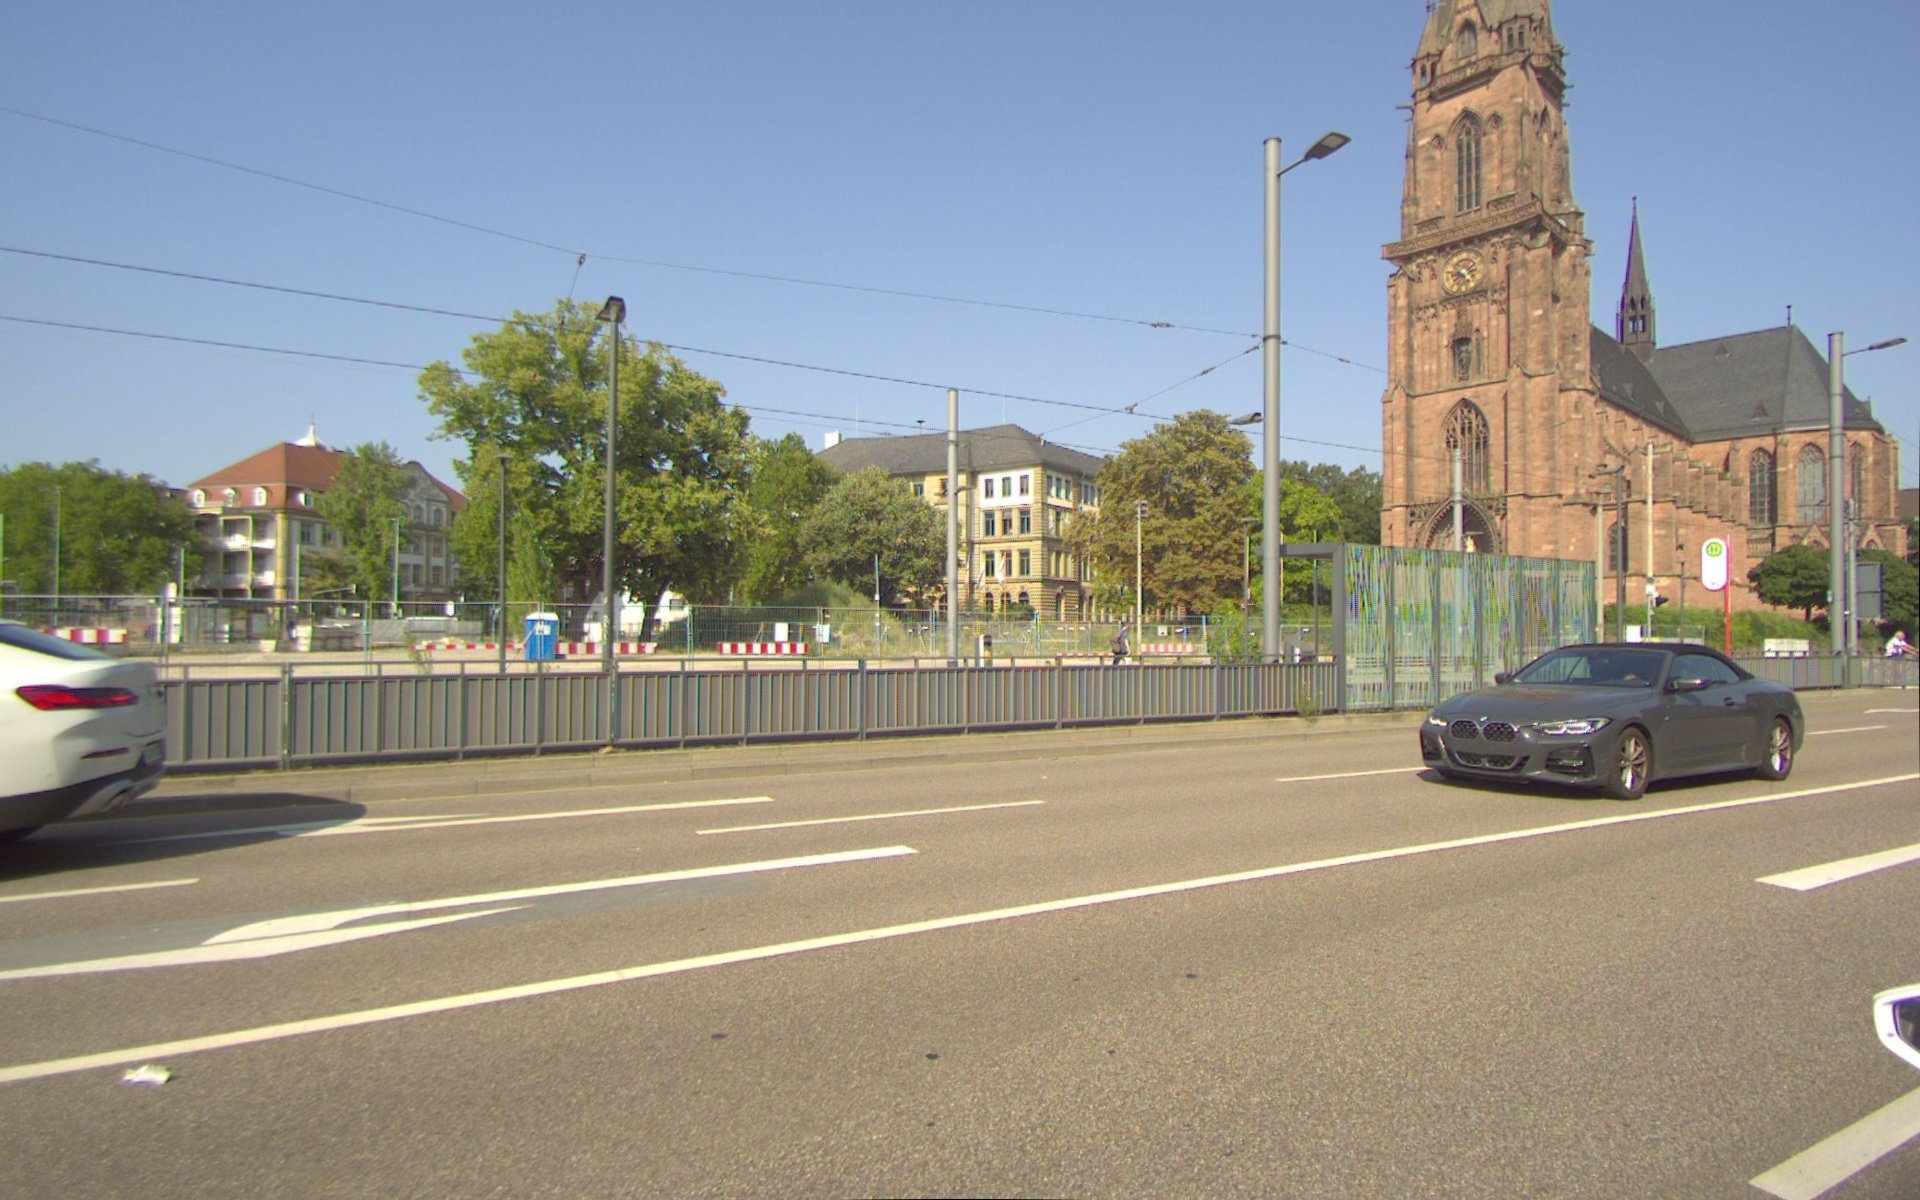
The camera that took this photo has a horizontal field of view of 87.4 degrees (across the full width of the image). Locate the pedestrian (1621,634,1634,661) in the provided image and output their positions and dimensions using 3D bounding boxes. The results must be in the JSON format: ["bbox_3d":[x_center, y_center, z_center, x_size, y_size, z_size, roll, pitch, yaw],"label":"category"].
[{"bbox_3d":[39.699,2.812,59.709,0.534,1.596,0.659,-1,-2,41],"label":"pedestrian"}]

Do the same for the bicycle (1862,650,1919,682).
[{"bbox_3d":[29.922,2.090,31.970,0.474,0.991,1.750,1,-2,-30],"label":"bicycle"}]

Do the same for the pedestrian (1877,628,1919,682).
[{"bbox_3d":[29.912,1.740,31.971,0.595,1.701,0.912,1,-2,-31],"label":"pedestrian"}]

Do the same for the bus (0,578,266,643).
[{"bbox_3d":[-49.013,0.777,60.250,3.160,3.464,13.325,0,-2,14],"label":"bus"}]

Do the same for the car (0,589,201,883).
[{"bbox_3d":[-7.136,0.762,5.546,4.451,1.632,1.706,1,-3,-30],"label":"car"}]

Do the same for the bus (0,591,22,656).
[{"bbox_3d":[-50.453,0.996,44.613,3.160,3.220,13.326,0,-2,12],"label":"bus"}]

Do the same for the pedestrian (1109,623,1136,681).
[{"bbox_3d":[4.913,1.562,30.398,0.657,1.723,0.515,1,-2,-30],"label":"pedestrian"}]

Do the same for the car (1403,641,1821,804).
[{"bbox_3d":[6.698,1.104,10.214,4.467,1.348,1.706,1,-3,-30],"label":"car"}]
